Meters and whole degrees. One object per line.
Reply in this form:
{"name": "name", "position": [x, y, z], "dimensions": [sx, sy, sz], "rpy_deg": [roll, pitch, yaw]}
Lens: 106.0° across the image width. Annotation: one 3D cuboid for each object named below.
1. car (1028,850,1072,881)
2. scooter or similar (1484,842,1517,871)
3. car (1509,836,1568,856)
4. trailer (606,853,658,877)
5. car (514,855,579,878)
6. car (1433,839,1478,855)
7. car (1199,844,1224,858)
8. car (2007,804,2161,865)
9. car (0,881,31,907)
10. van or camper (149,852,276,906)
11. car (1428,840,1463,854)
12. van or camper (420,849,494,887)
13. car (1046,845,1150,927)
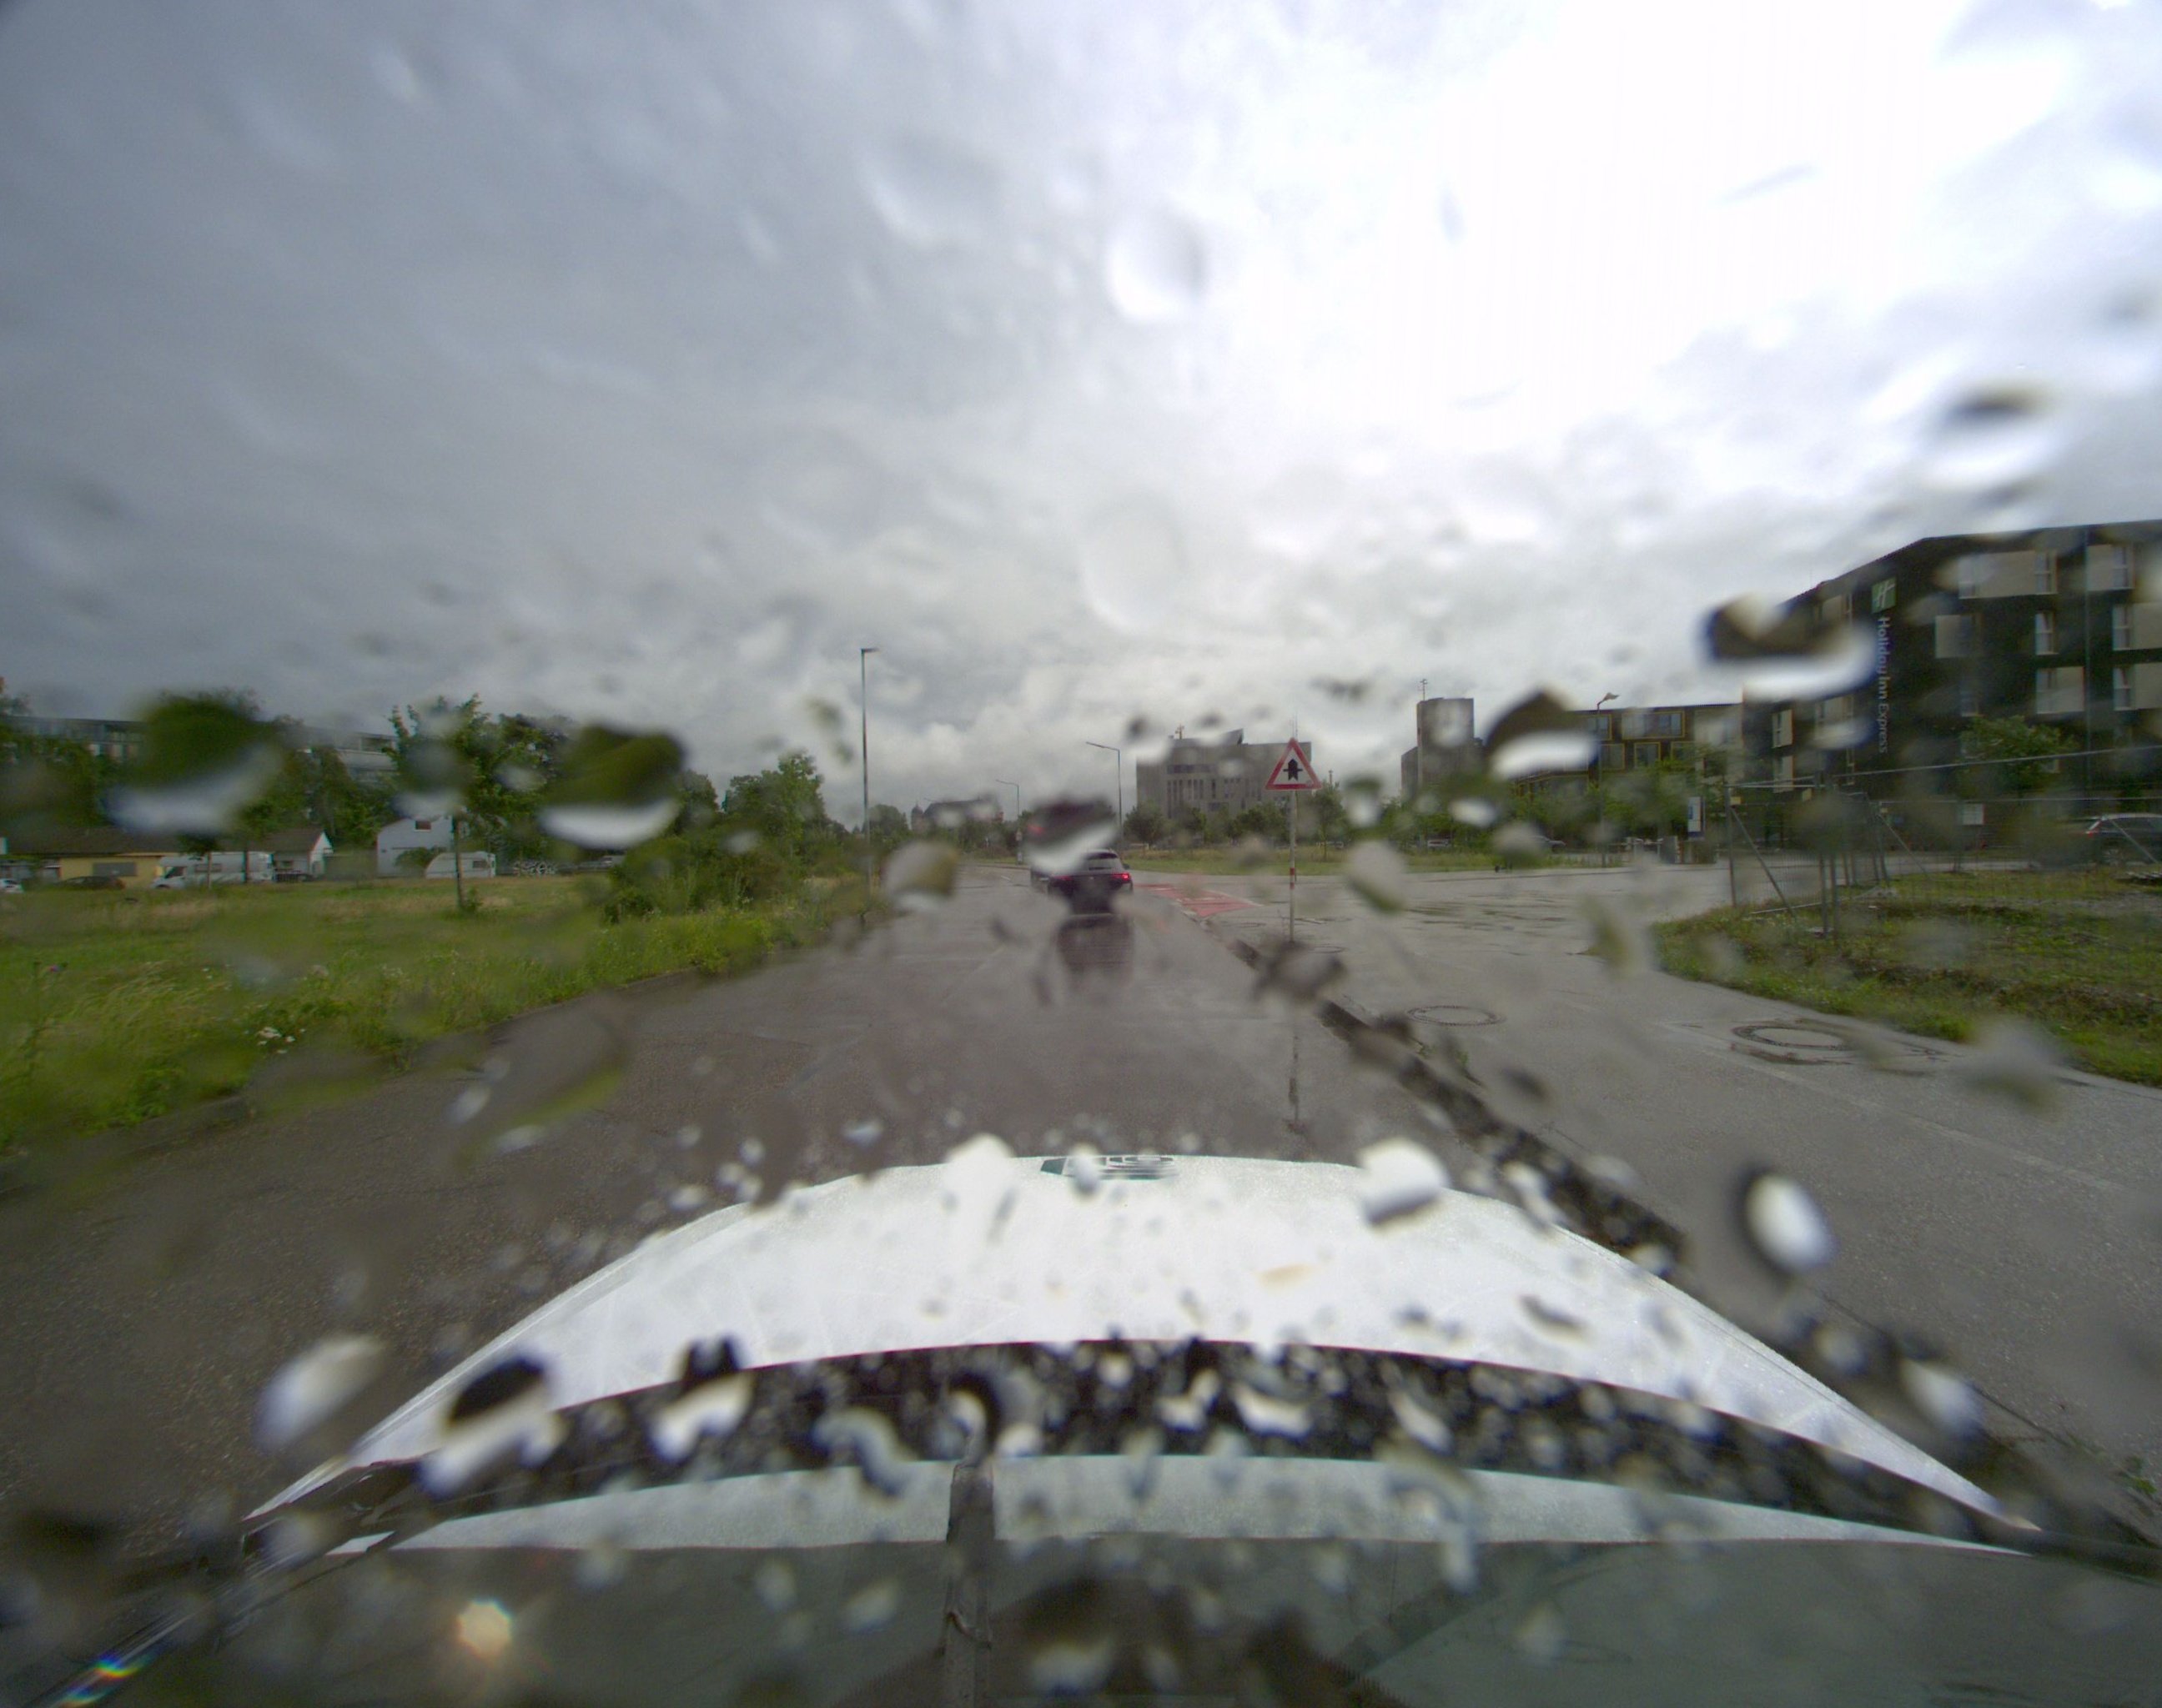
{"name": "car", "position": [-1.676, 0.601, 43.097], "dimensions": [1.840, 1.442, 3.988], "rpy_deg": [-4, 0, -8]}
{"name": "scooter or similar", "position": [18.177, 0.098, 35.283], "dimensions": [1.284, 1.187, 0.500], "rpy_deg": [-3, 2, -19]}
{"name": "car", "position": [40.268, -0.661, 71.739], "dimensions": [4.174, 1.557, 1.673], "rpy_deg": [-2, 0, 14]}
{"name": "trailer", "position": [-41.325, 0.997, 74.998], "dimensions": [4.126, 2.089, 1.827], "rpy_deg": [0, -1, -30]}
{"name": "car", "position": [-46.483, 1.073, 70.927], "dimensions": [4.530, 1.775, 1.982], "rpy_deg": [-1, 0, -28]}
{"name": "car", "position": [44.092, -0.870, 96.004], "dimensions": [4.509, 1.762, 2.008], "rpy_deg": [-1, 0, 14]}
{"name": "car", "position": [20.683, -0.490, 129.044], "dimensions": [3.665, 2.014, 2.010], "rpy_deg": [-1, -1, 21]}
{"name": "car", "position": [30.245, -0.547, 23.707], "dimensions": [3.965, 1.618, 2.004], "rpy_deg": [-1, -3, 7]}
{"name": "car", "position": [-74.548, 2.767, 55.000], "dimensions": [4.010, 1.703, 1.864], "rpy_deg": [-1, 0, -29]}
{"name": "van or camper", "position": [-64.520, 1.760, 60.693], "dimensions": [5.865, 3.744, 2.630], "rpy_deg": [-1, 0, -28]}
{"name": "car", "position": [47.501, -0.940, 106.231], "dimensions": [3.957, 1.720, 1.776], "rpy_deg": [-1, 0, 15]}
{"name": "van or camper", "position": [-52.017, 1.150, 68.008], "dimensions": [4.527, 2.945, 2.461], "rpy_deg": [-1, 0, -28]}
{"name": "car", "position": [0.263, 0.619, 18.008], "dimensions": [1.982, 1.520, 3.996], "rpy_deg": [-3, 0, -3]}
